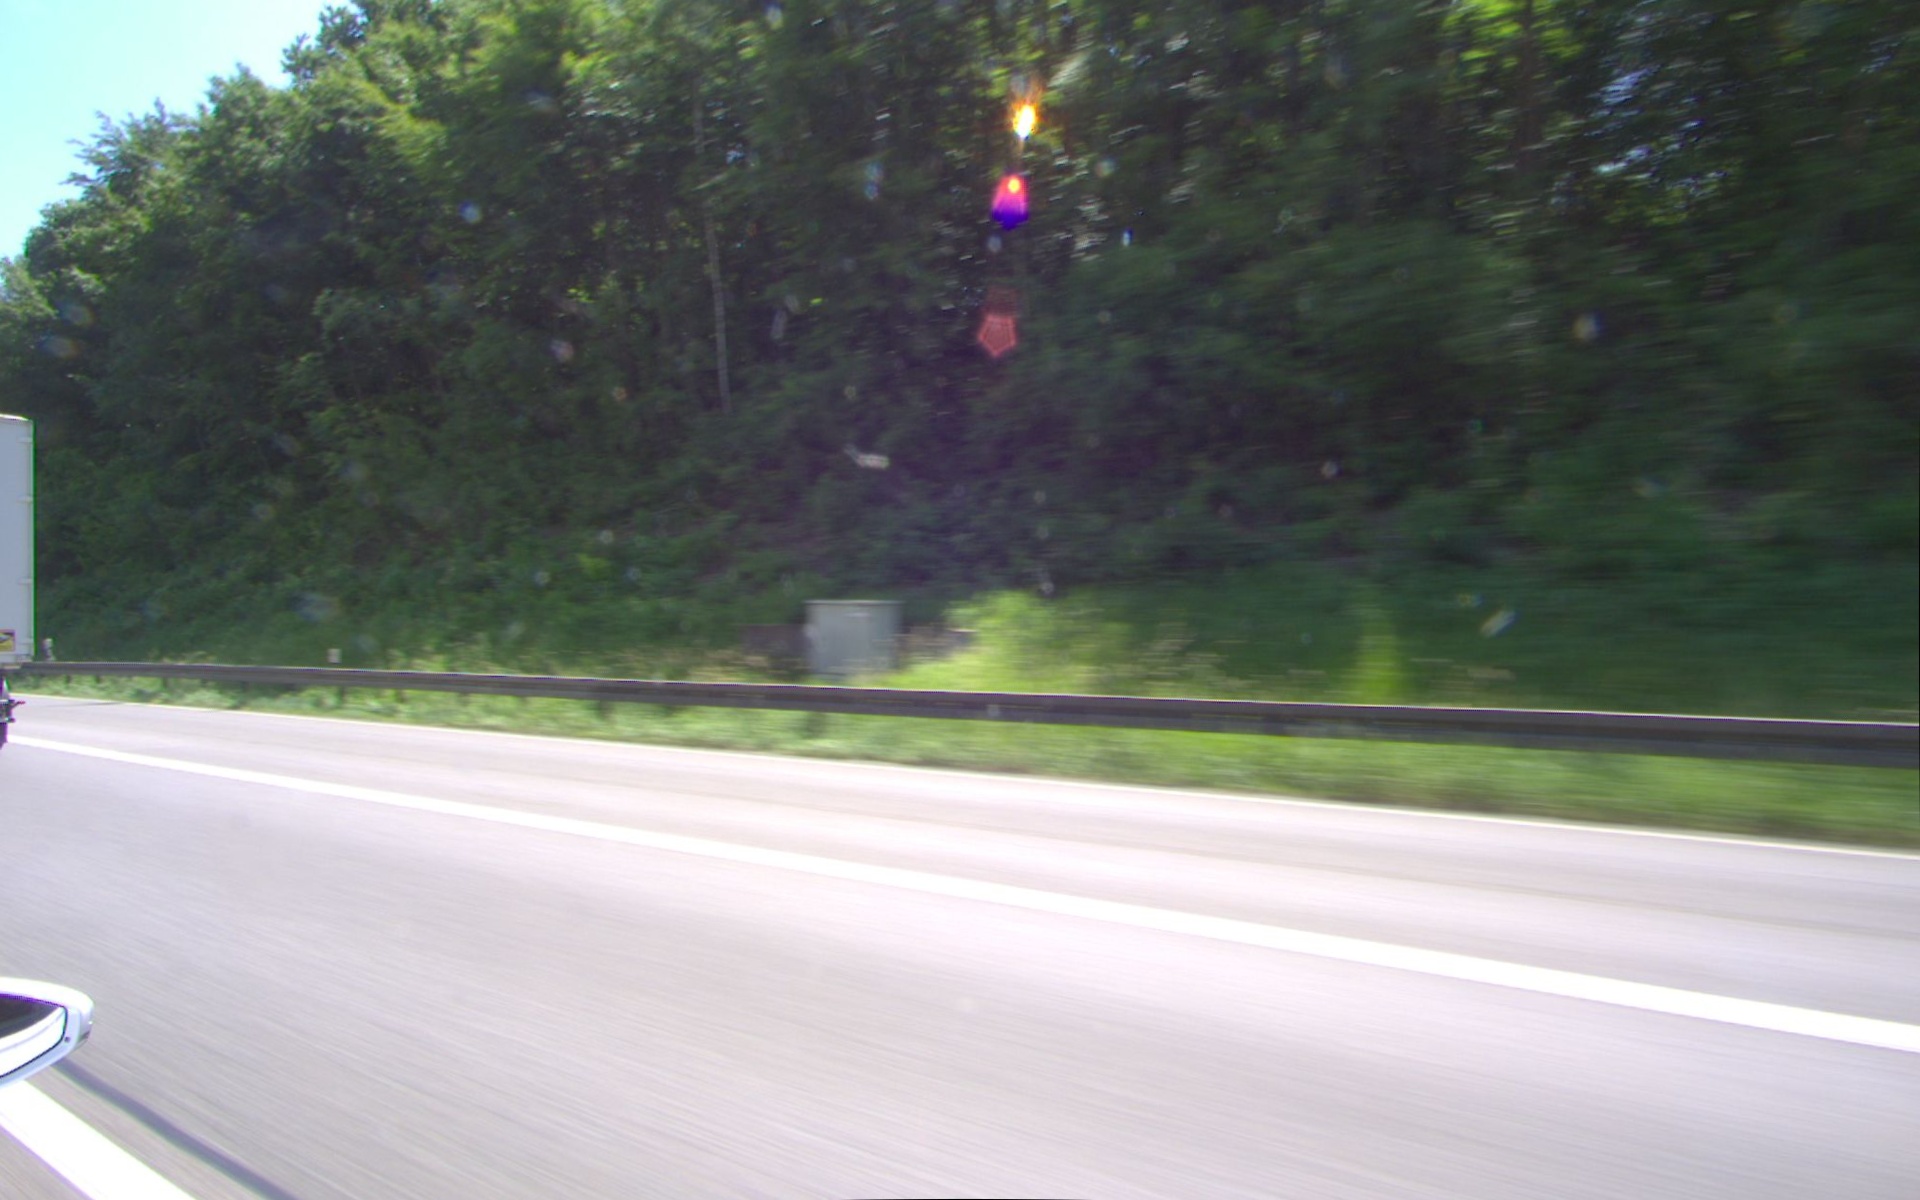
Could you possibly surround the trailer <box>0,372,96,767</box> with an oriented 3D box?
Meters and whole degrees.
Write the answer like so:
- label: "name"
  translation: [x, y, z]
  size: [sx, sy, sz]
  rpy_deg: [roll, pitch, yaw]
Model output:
- label: "trailer"
  translation: [-14.731, -0.233, 12.917]
  size: [9.922, 4.230, 2.675]
  rpy_deg: [-1, -1, 32]
